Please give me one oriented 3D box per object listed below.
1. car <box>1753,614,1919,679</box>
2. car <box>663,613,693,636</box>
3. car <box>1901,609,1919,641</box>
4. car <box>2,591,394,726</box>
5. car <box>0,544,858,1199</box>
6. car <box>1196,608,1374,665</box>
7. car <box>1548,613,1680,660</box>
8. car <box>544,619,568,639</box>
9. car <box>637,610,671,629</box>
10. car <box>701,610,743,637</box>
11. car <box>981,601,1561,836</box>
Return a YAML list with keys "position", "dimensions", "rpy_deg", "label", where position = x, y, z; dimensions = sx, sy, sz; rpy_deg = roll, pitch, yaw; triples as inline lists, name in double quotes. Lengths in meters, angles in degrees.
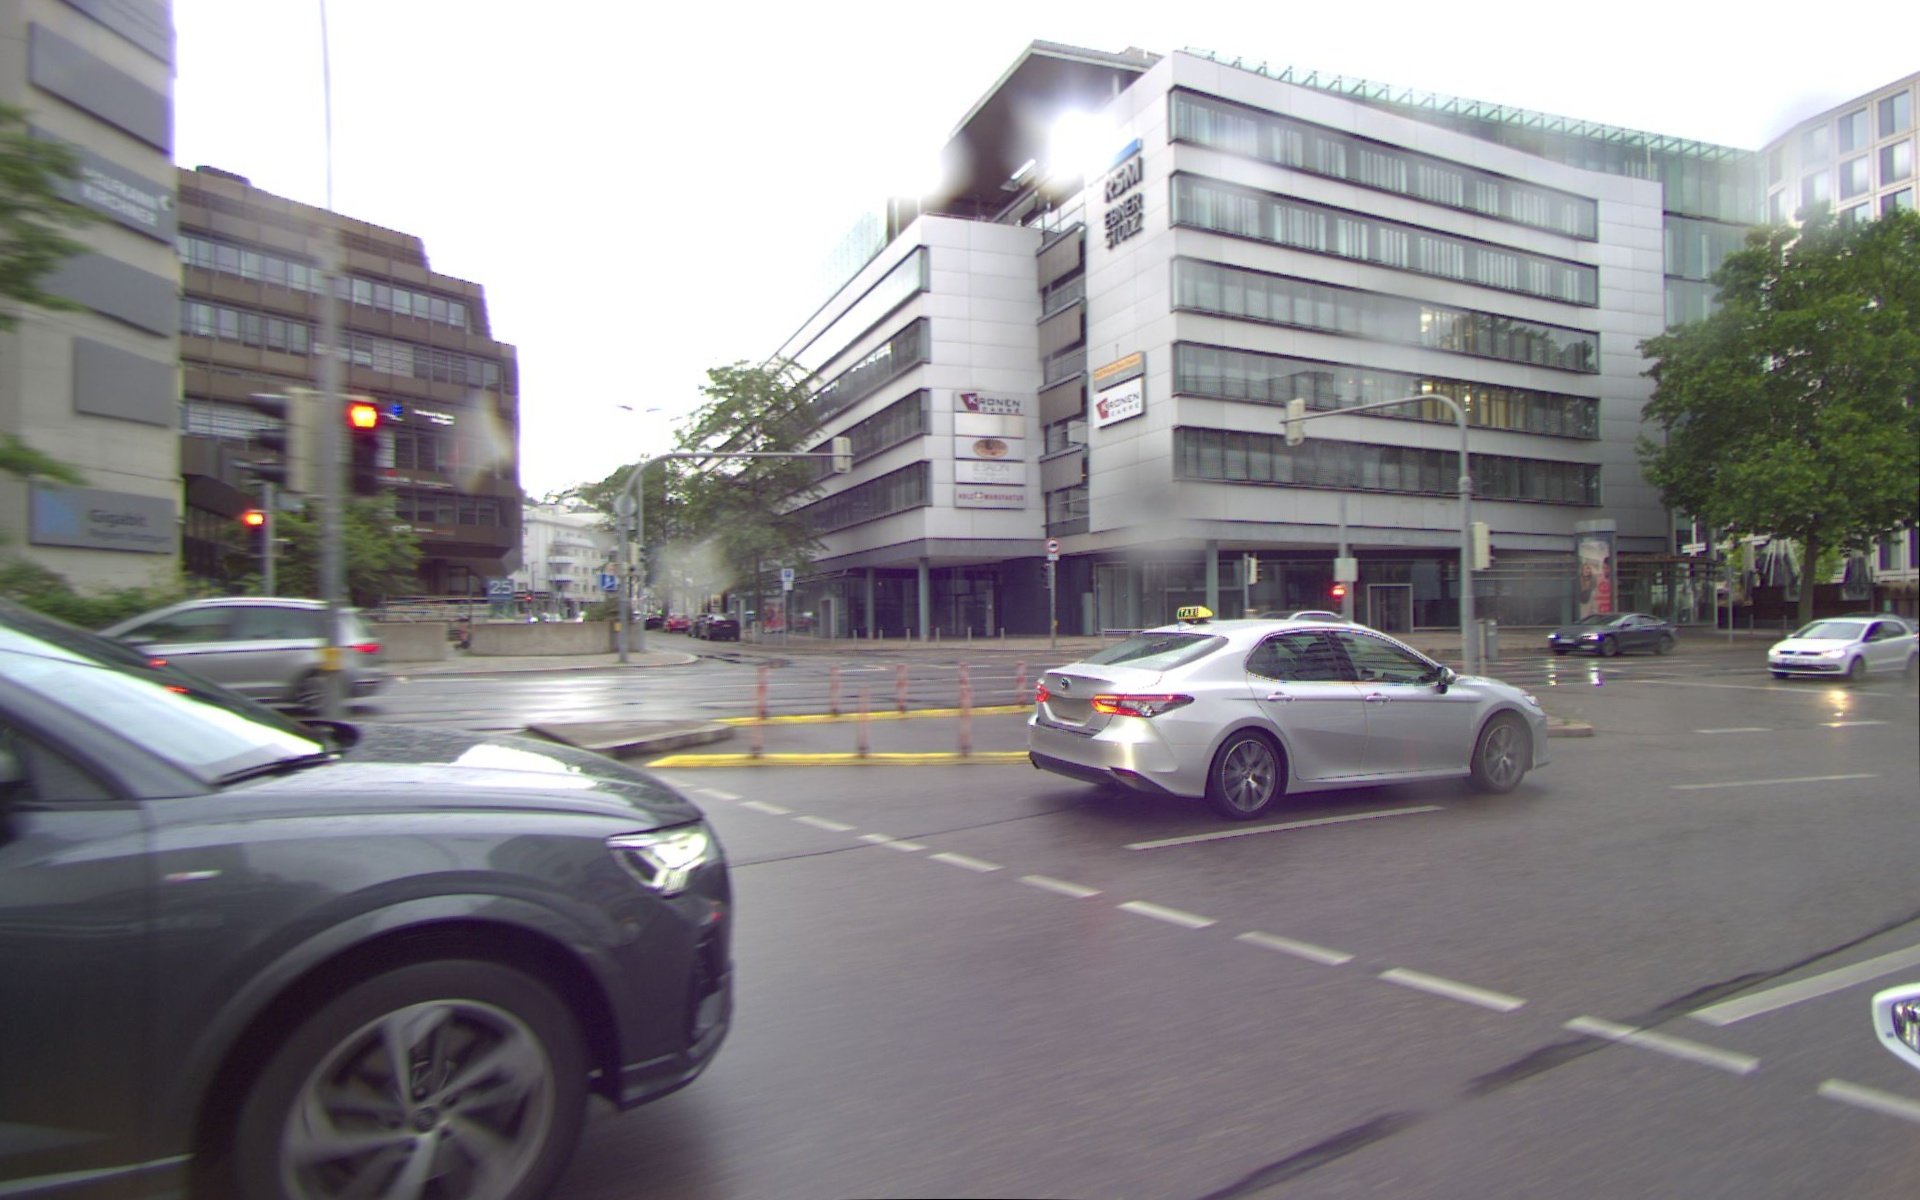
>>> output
- position: [21.171, 1.078, 24.172]
  dimensions: [3.851, 1.456, 1.628]
  rpy_deg: [0, -1, -23]
  label: "car"
- position: [-21.751, 1.846, 77.512]
  dimensions: [1.679, 1.672, 3.886]
  rpy_deg: [2, -1, -23]
  label: "car"
- position: [45.914, 1.148, 46.377]
  dimensions: [3.937, 1.508, 1.992]
  rpy_deg: [0, -1, -19]
  label: "car"
- position: [-10.133, 0.740, 13.763]
  dimensions: [4.042, 1.602, 1.634]
  rpy_deg: [1, -1, -33]
  label: "car"
- position: [-2.492, 0.661, 2.242]
  dimensions: [4.225, 1.542, 1.639]
  rpy_deg: [1, 0, -33]
  label: "car"
- position: [9.436, 1.014, 29.031]
  dimensions: [5.128, 1.530, 1.807]
  rpy_deg: [0, -1, -27]
  label: "car"
- position: [22.942, 1.235, 35.241]
  dimensions: [4.527, 1.580, 1.628]
  rpy_deg: [0, -1, -23]
  label: "car"
- position: [-35.982, 2.537, 89.390]
  dimensions: [1.759, 1.650, 3.976]
  rpy_deg: [2, -1, -24]
  label: "car"
- position: [-26.701, 1.677, 87.544]
  dimensions: [1.771, 1.617, 3.853]
  rpy_deg: [1, -1, -33]
  label: "car"
- position: [-14.707, 1.432, 61.849]
  dimensions: [1.673, 1.491, 3.974]
  rpy_deg: [2, -1, -26]
  label: "car"
- position: [2.700, 0.835, 8.530]
  dimensions: [4.714, 1.554, 1.859]
  rpy_deg: [1, 0, -26]
  label: "car"
